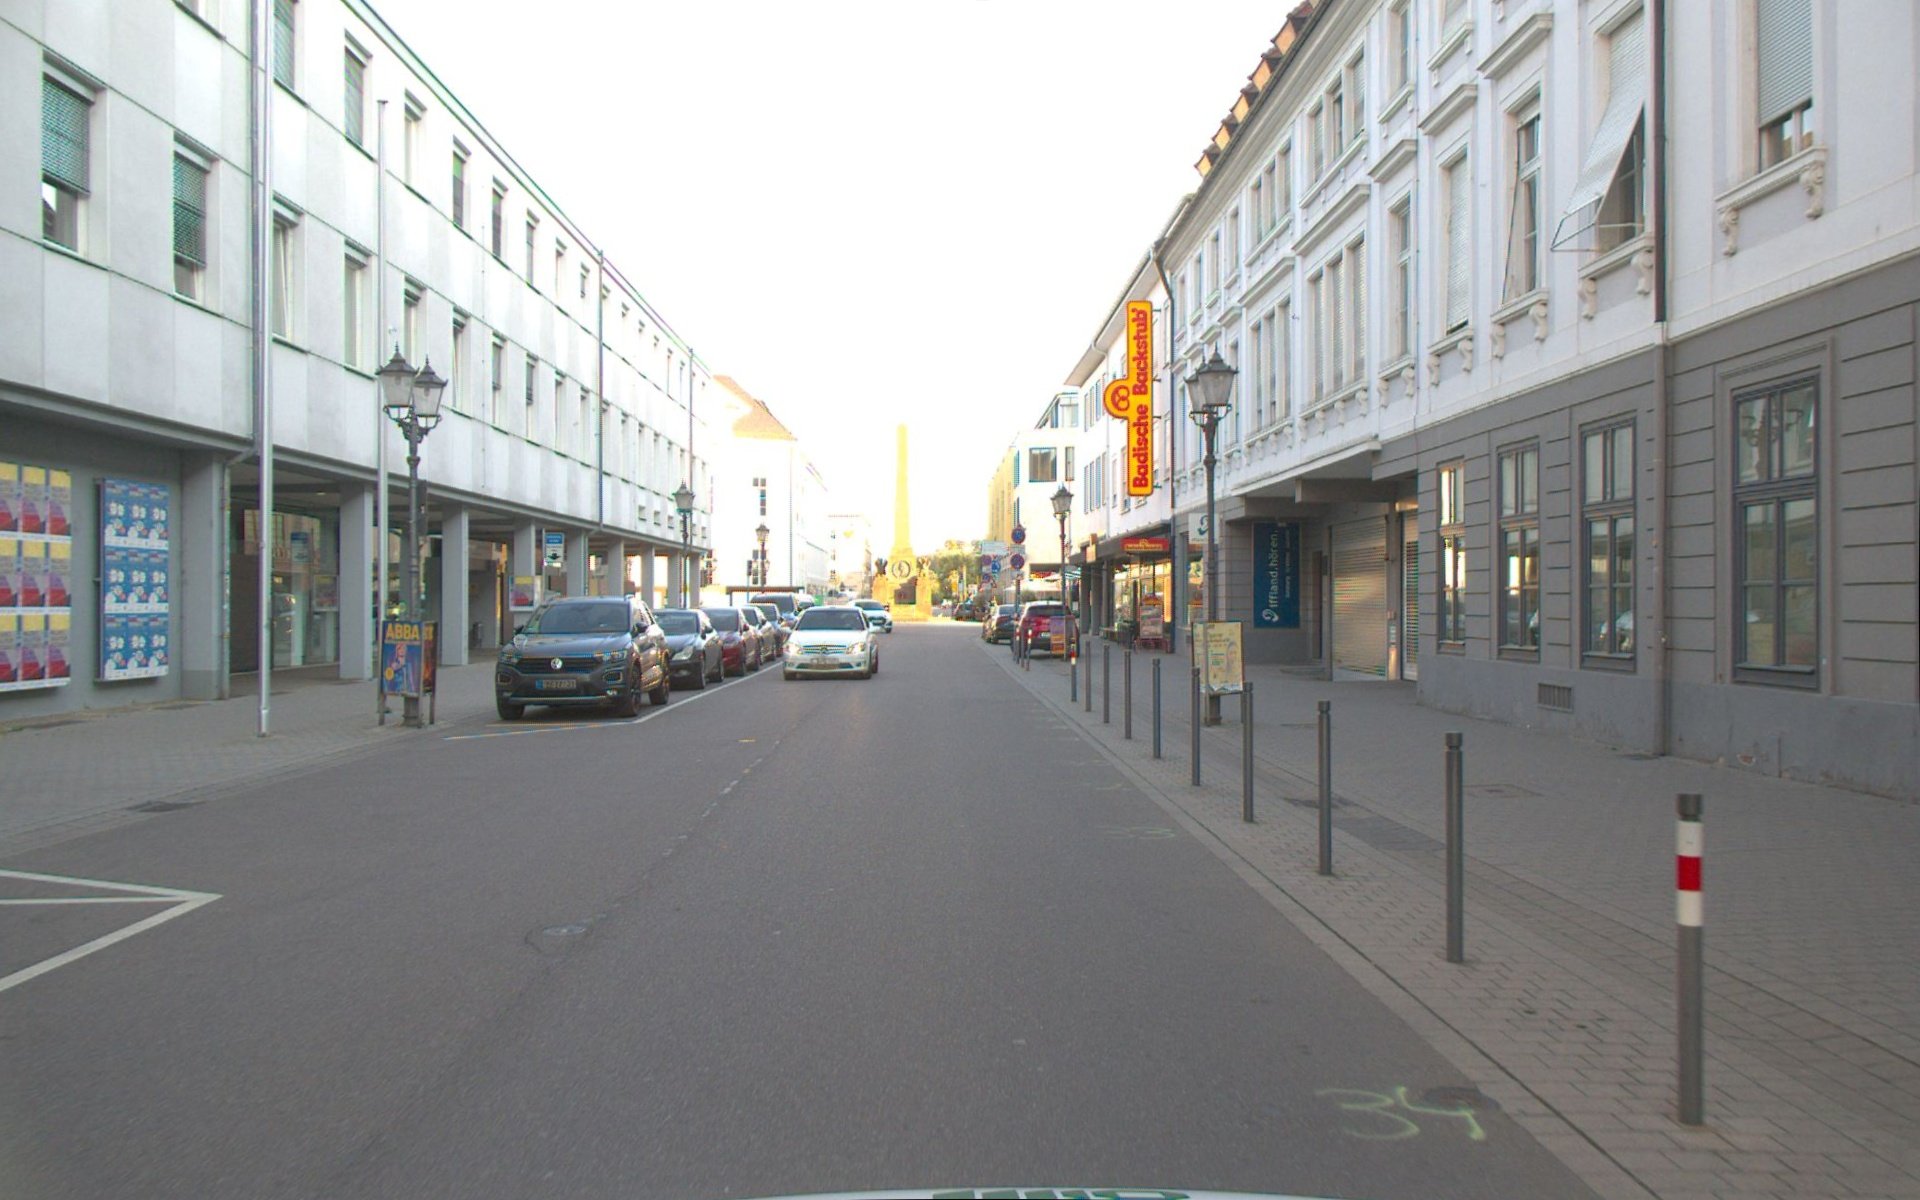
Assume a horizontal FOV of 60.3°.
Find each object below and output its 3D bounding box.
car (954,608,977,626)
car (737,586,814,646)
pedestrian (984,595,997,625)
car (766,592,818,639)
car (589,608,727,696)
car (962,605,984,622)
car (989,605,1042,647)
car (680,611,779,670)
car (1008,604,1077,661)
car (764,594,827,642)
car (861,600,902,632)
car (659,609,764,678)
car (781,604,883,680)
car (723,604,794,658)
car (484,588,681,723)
[{"bbox_3d":[0.452,1.428,142.258,1.952,1.490,4.000,0,0,0],"label":"car"},{"bbox_3d":[-5.762,0.498,52.131,1.953,1.758,4.515,-2,0,-1],"label":"car"},{"bbox_3d":[1.683,0.552,91.308,0.676,1.676,0.695,-1,0,-2],"label":"pedestrian"},{"bbox_3d":[-6.946,0.616,68.010,1.956,1.847,4.775,0,0,-8],"label":"car"},{"bbox_3d":[-5.350,0.881,29.766,1.748,1.433,4.088,-1,0,0],"label":"car"},{"bbox_3d":[1.205,1.223,150.749,1.952,1.490,4.000,0,0,0],"label":"car"},{"bbox_3d":[1.989,0.932,60.629,1.765,1.490,4.116,0,0,-1],"label":"car"},{"bbox_3d":[-5.680,0.964,41.179,1.953,1.378,3.999,0,0,-1],"label":"car"},{"bbox_3d":[2.299,0.884,46.786,1.723,1.550,3.676,0,0,-1],"label":"car"},{"bbox_3d":[-5.987,0.629,60.566,1.953,1.691,3.999,0,0,-1],"label":"car"},{"bbox_3d":[-3.569,0.722,75.602,1.728,1.447,3.999,0,0,-1],"label":"car"},{"bbox_3d":[-5.520,0.938,37.148,1.748,1.433,4.088,-1,0,0],"label":"car"},{"bbox_3d":[-2.521,0.803,33.452,1.748,1.433,4.088,-1,0,0],"label":"car"},{"bbox_3d":[-5.658,0.854,46.768,1.639,1.424,3.998,-1,0,-2],"label":"car"},{"bbox_3d":[-5.025,0.690,22.560,1.748,1.643,4.165,-1,0,0],"label":"car"}]
